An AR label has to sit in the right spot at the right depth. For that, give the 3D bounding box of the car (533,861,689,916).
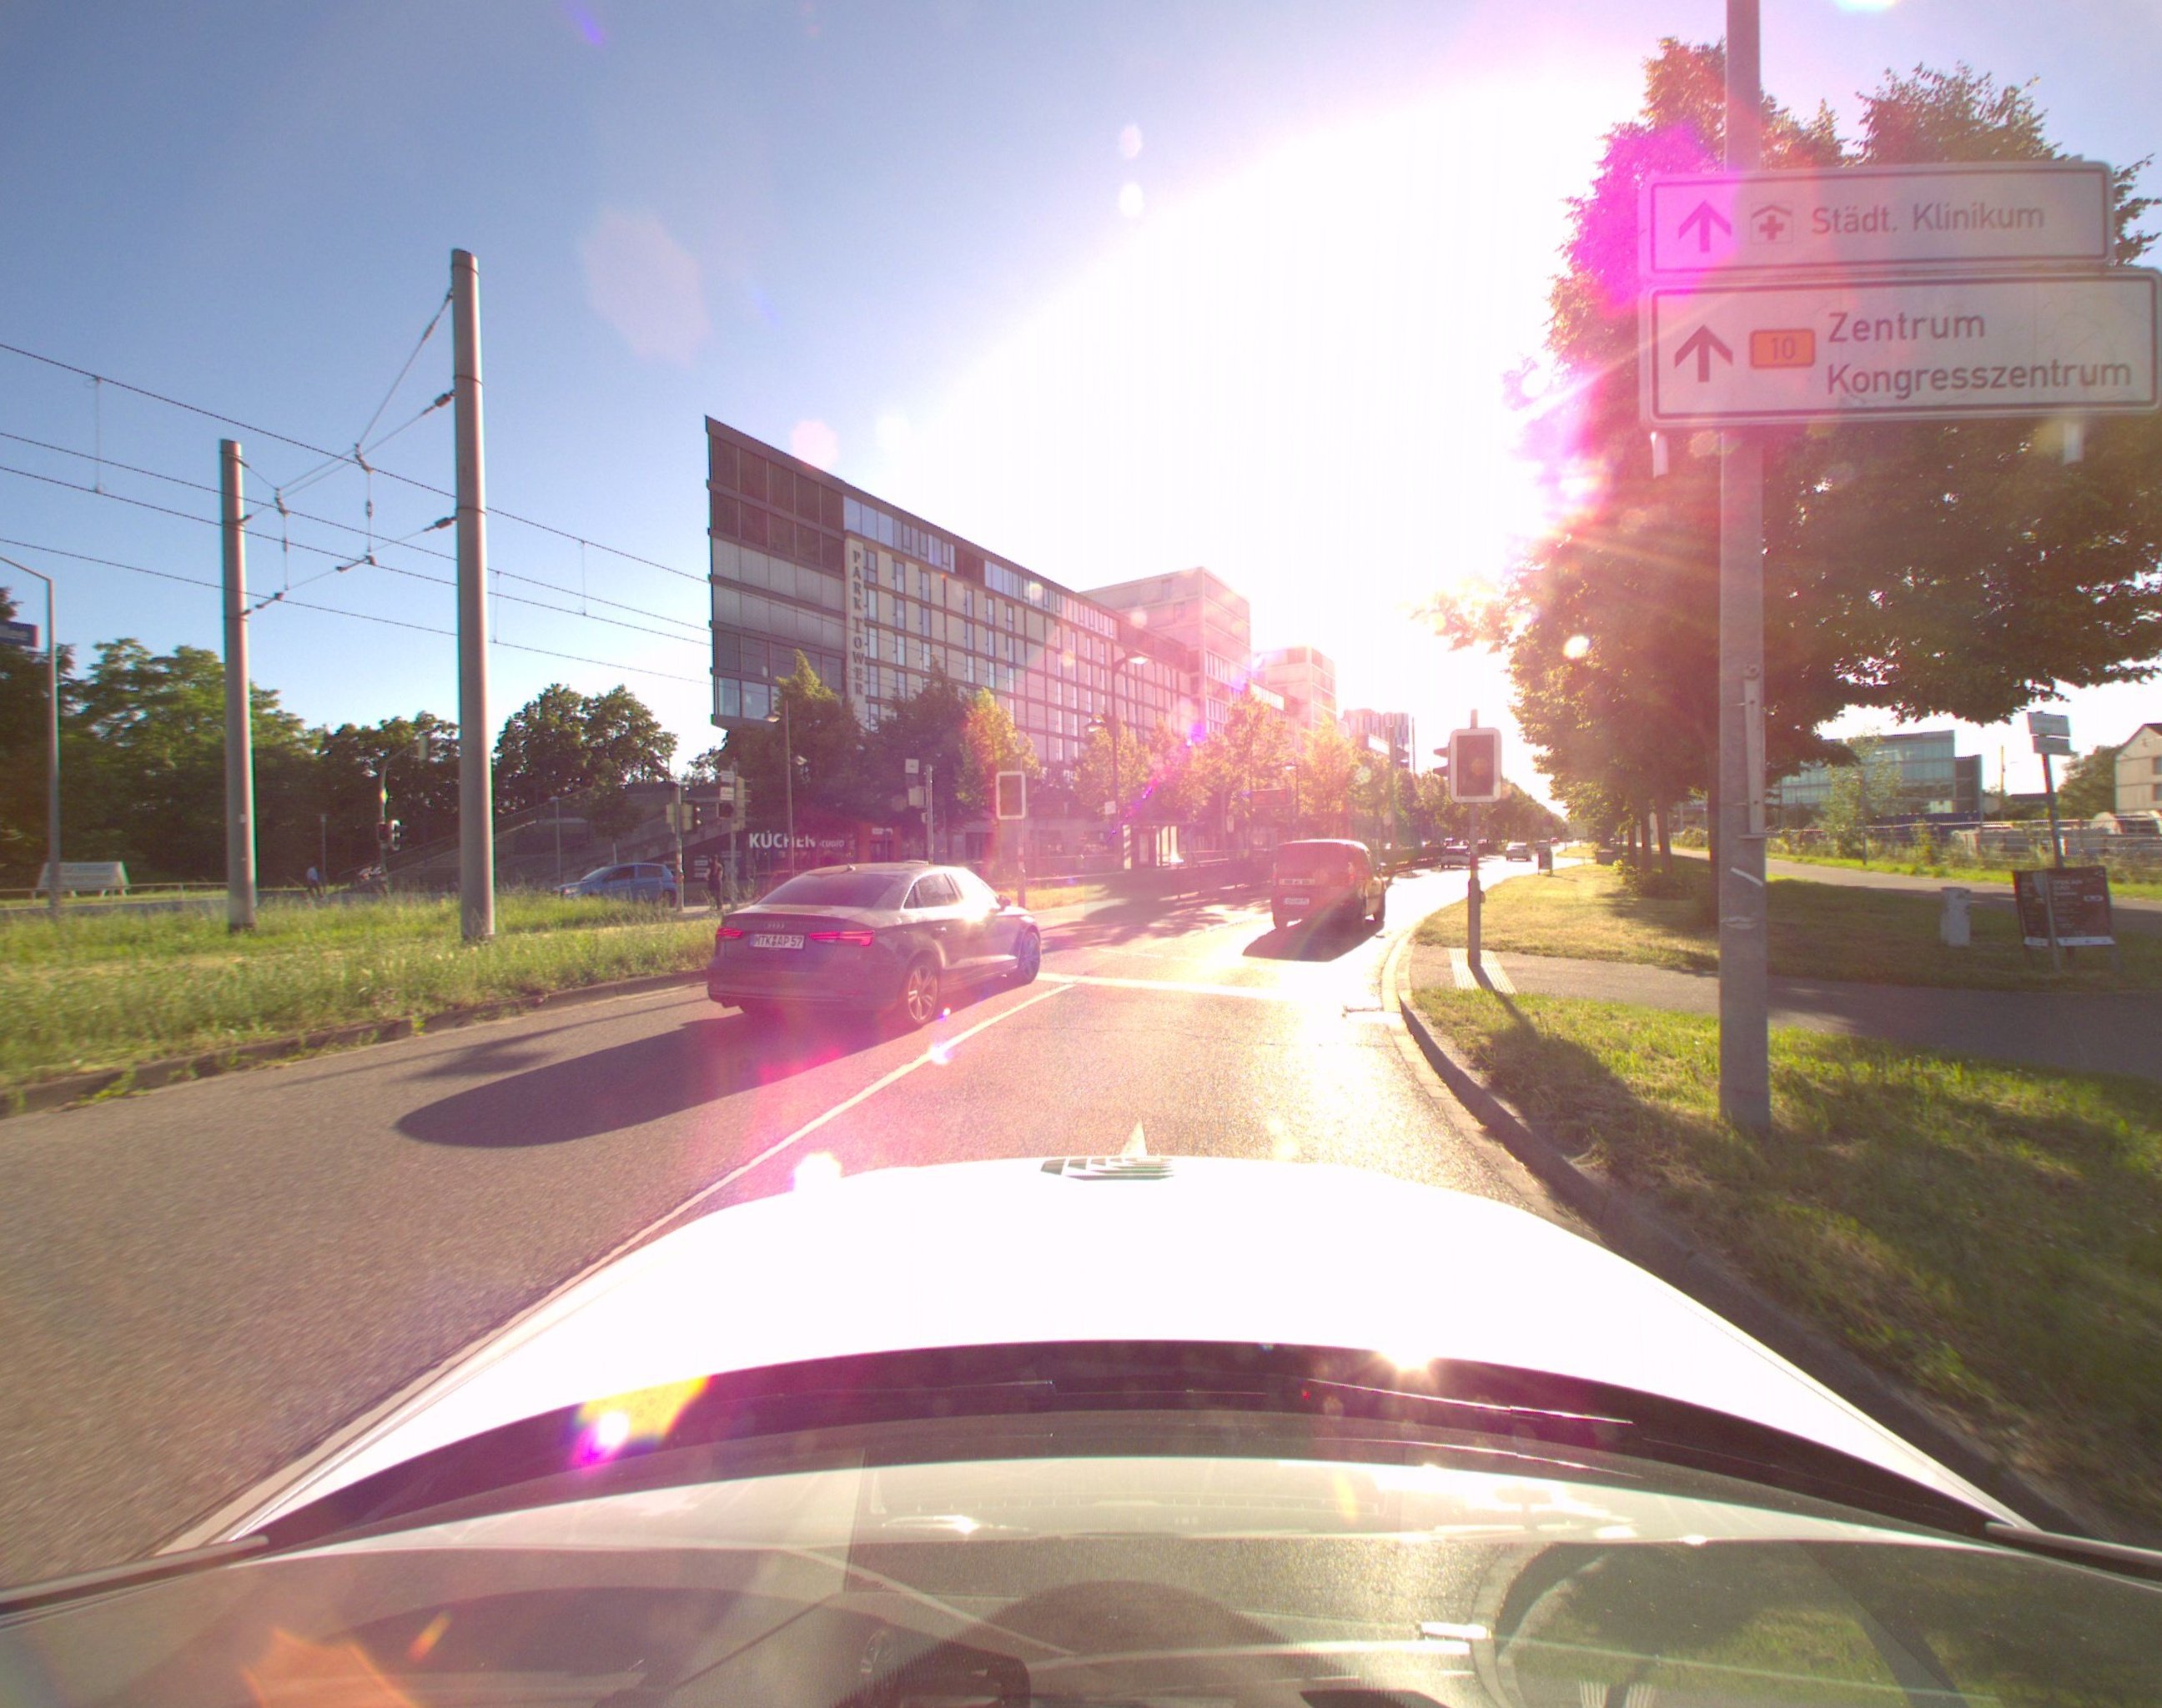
[{"bbox_3d":[-15.370,1.067,26.803,1.915,1.574,4.002,-1,0,35],"label":"car"}]

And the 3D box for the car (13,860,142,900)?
[{"bbox_3d":[-51.195,1.298,41.621,3.736,1.805,1.831,-2,1,-13],"label":"car"}]

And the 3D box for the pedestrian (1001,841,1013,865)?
[{"bbox_3d":[-6.280,-0.111,69.086,0.632,2.013,0.839,-1,0,33],"label":"pedestrian"}]

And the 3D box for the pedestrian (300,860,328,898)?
[{"bbox_3d":[-34.076,1.095,36.171,0.874,1.629,0.766,-1,1,40],"label":"pedestrian"}]

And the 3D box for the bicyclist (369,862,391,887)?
[{"bbox_3d":[-41.130,1.201,47.811,0.612,1.392,0.720,-1,0,6],"label":"bicyclist"}]

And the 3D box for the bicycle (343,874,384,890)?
[{"bbox_3d":[-42.107,1.645,47.826,0.612,0.852,1.892,-1,1,6],"label":"bicycle"}]

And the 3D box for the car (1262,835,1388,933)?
[{"bbox_3d":[5.235,0.550,17.138,1.786,1.813,3.833,-1,0,28],"label":"car"}]

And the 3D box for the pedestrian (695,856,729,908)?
[{"bbox_3d":[-10.540,0.788,23.286,0.549,1.466,0.681,0,0,30],"label":"pedestrian"}]

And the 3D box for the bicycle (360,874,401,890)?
[{"bbox_3d":[-41.112,1.651,47.790,0.612,0.852,1.892,-1,1,6],"label":"bicycle"}]

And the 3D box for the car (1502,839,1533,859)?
[{"bbox_3d":[36.890,-0.447,68.756,1.974,1.575,4.436,-1,1,32],"label":"car"}]

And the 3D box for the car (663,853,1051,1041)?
[{"bbox_3d":[-1.844,0.739,8.341,1.746,1.380,4.377,0,-1,17],"label":"car"}]

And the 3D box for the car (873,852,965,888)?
[{"bbox_3d":[-7.524,0.725,38.216,1.915,1.574,4.002,-1,0,34],"label":"car"}]

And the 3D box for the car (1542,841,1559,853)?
[{"bbox_3d":[67.955,-1.041,117.955,1.974,1.575,4.436,-1,1,31],"label":"car"}]

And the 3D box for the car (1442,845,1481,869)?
[{"bbox_3d":[24.893,0.138,53.214,1.785,1.461,3.834,1,2,32],"label":"car"}]

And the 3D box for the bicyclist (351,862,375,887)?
[{"bbox_3d":[-42.116,1.196,47.790,0.612,1.392,0.839,-1,0,6],"label":"bicyclist"}]
